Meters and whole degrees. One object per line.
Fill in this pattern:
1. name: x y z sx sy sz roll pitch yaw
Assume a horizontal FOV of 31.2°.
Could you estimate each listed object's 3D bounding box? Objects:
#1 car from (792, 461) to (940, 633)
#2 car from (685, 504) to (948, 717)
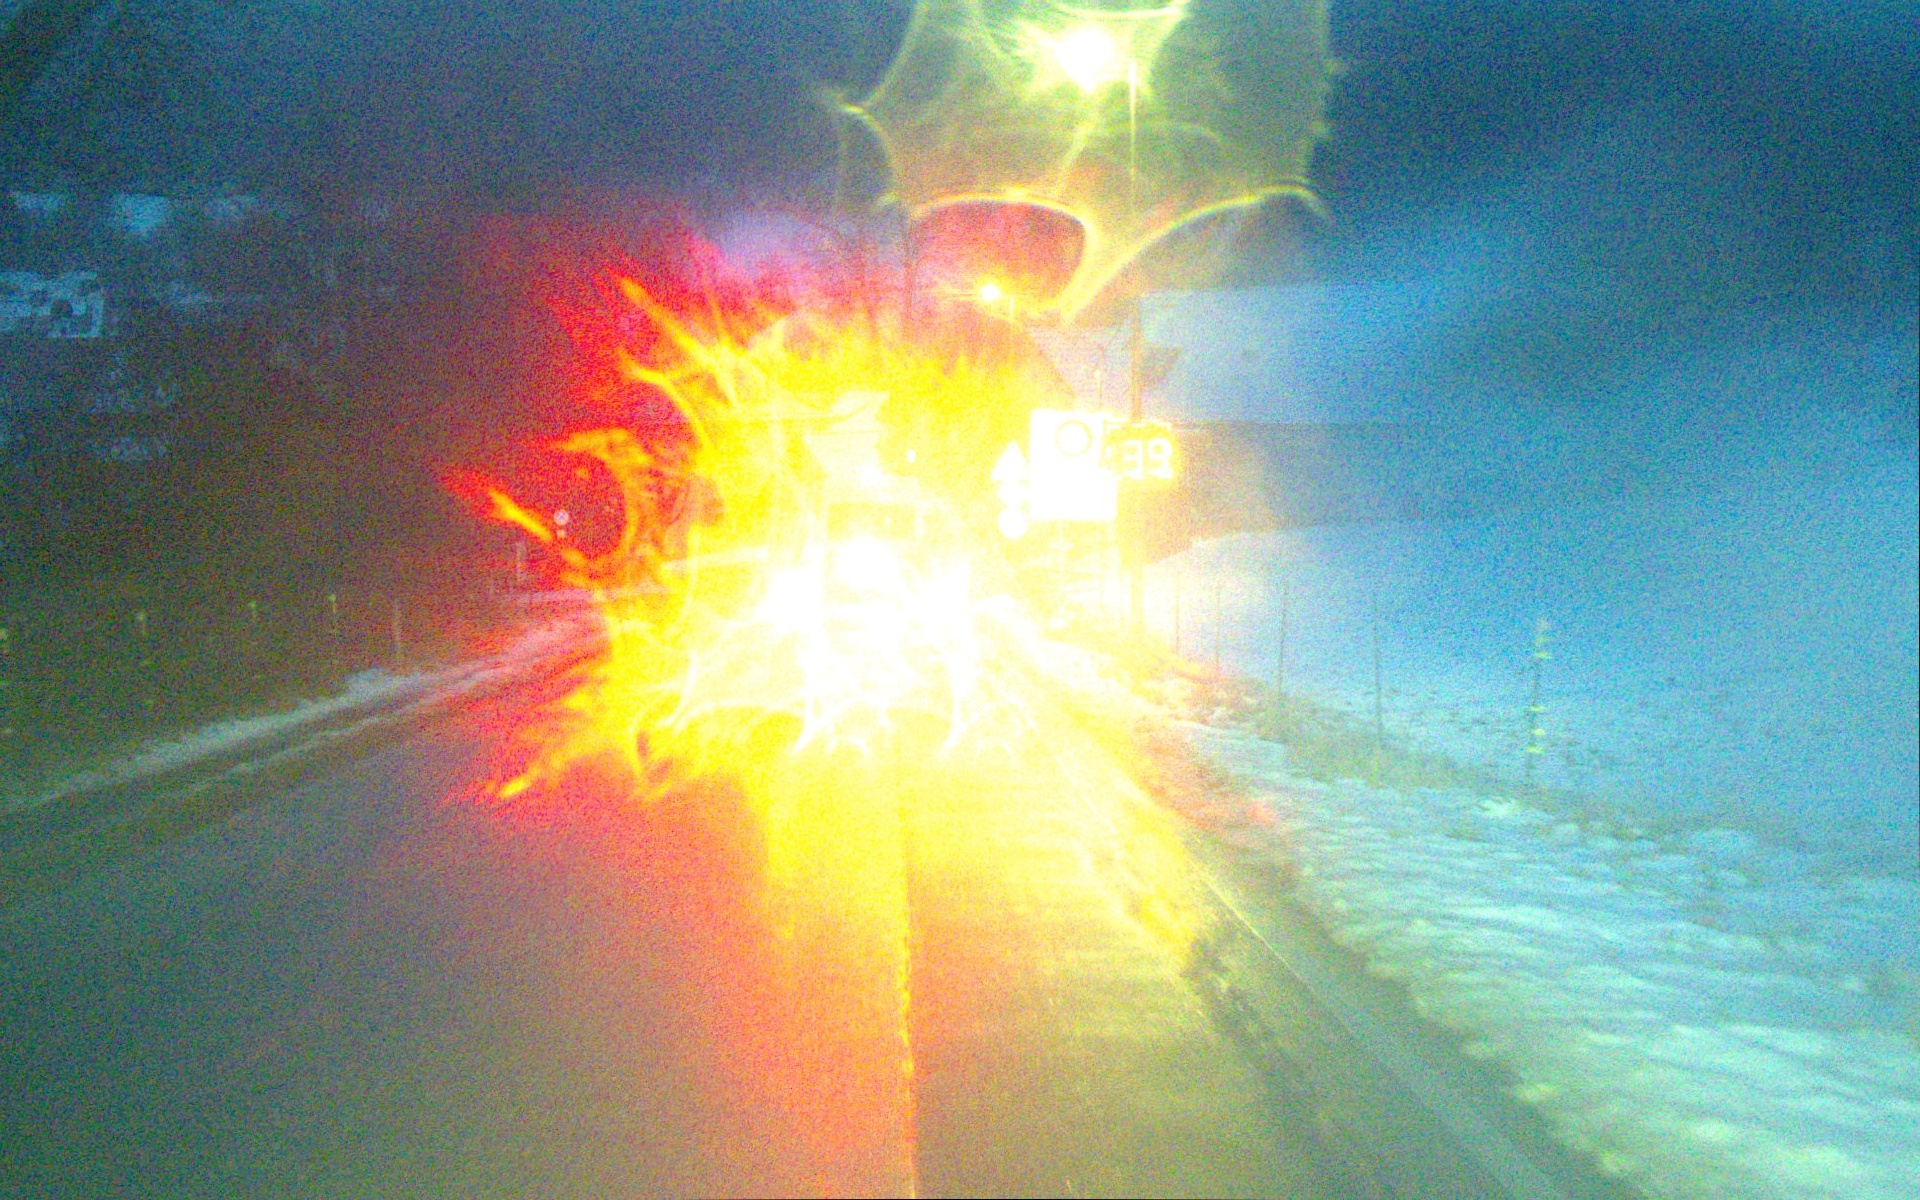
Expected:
1. car: -1.706 -0.928 64.528 2.435 3.008 5.324 -2 -1 1
2. car: -1.325 0.071 32.413 2.274 1.834 5.007 -1 0 -2
